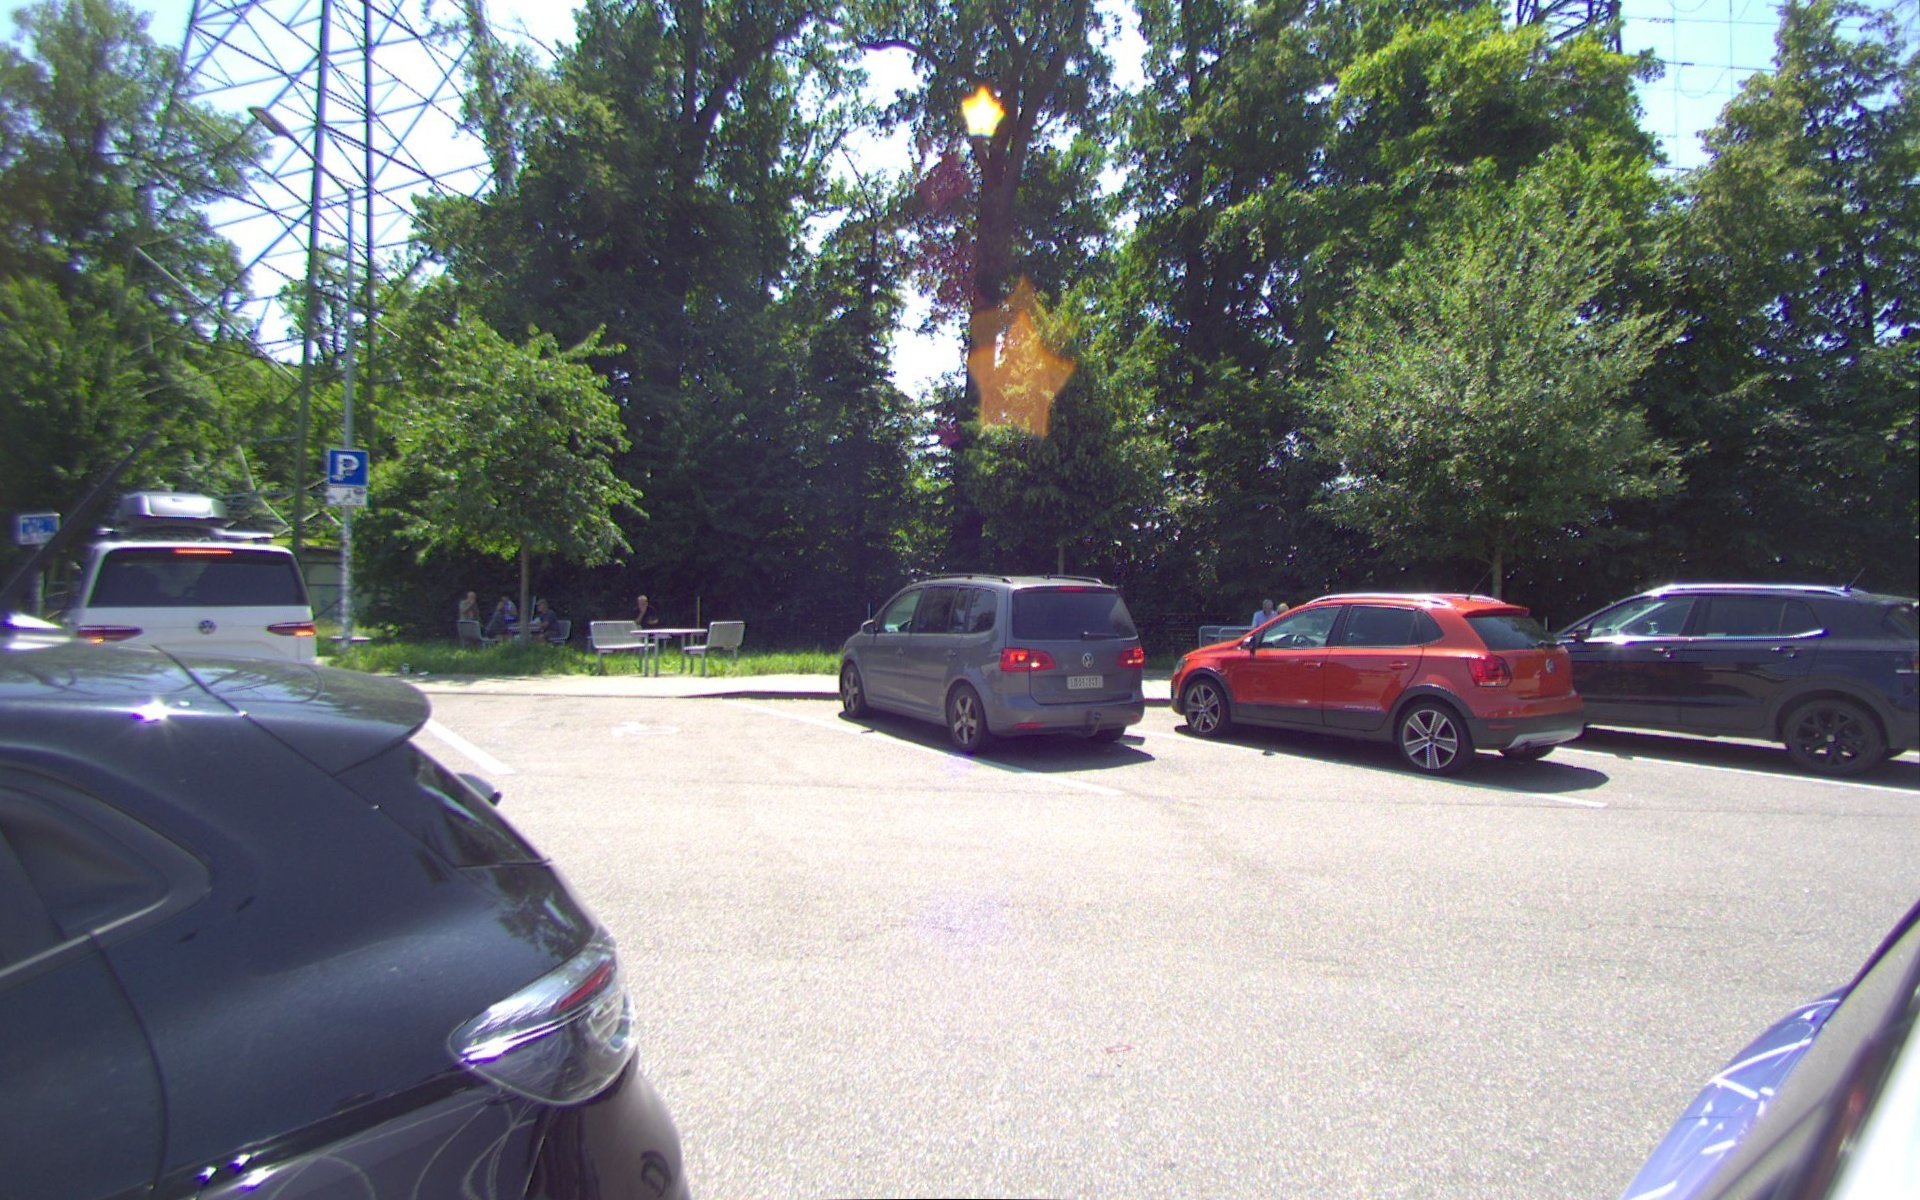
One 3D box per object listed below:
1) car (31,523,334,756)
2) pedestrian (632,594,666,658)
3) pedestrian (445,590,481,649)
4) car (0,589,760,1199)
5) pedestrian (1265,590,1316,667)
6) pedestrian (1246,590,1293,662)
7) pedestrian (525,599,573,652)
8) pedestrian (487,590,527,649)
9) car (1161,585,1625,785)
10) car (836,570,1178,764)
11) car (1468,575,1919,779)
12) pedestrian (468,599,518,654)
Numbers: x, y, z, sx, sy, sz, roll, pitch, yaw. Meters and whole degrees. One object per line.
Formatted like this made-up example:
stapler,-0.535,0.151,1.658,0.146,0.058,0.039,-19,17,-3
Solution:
car,-8.347,0.287,10.694,4.549,1.936,1.882,1,1,44
pedestrian,-6.540,0.522,21.281,0.655,1.311,0.786,0,0,-16
pedestrian,-12.245,0.464,24.935,0.657,1.422,0.649,0,0,-39
car,-2.193,0.721,0.601,1.737,1.501,3.757,0,0,44
pedestrian,5.791,0.486,17.777,0.657,1.311,0.783,0,0,3
pedestrian,5.795,0.475,18.964,0.657,1.311,0.783,0,0,3
pedestrian,-9.592,0.577,23.627,0.873,1.192,0.668,0,0,-41
pedestrian,-10.994,0.461,24.565,0.664,1.422,0.643,0,0,32
car,3.864,0.609,9.650,1.687,1.484,3.793,0,1,-32
car,0.263,0.517,10.520,1.713,1.601,3.996,0,1,-29
car,7.190,0.574,9.710,1.690,1.593,3.787,0,1,-39
pedestrian,-10.508,0.590,22.773,0.873,1.192,0.668,0,0,-41
